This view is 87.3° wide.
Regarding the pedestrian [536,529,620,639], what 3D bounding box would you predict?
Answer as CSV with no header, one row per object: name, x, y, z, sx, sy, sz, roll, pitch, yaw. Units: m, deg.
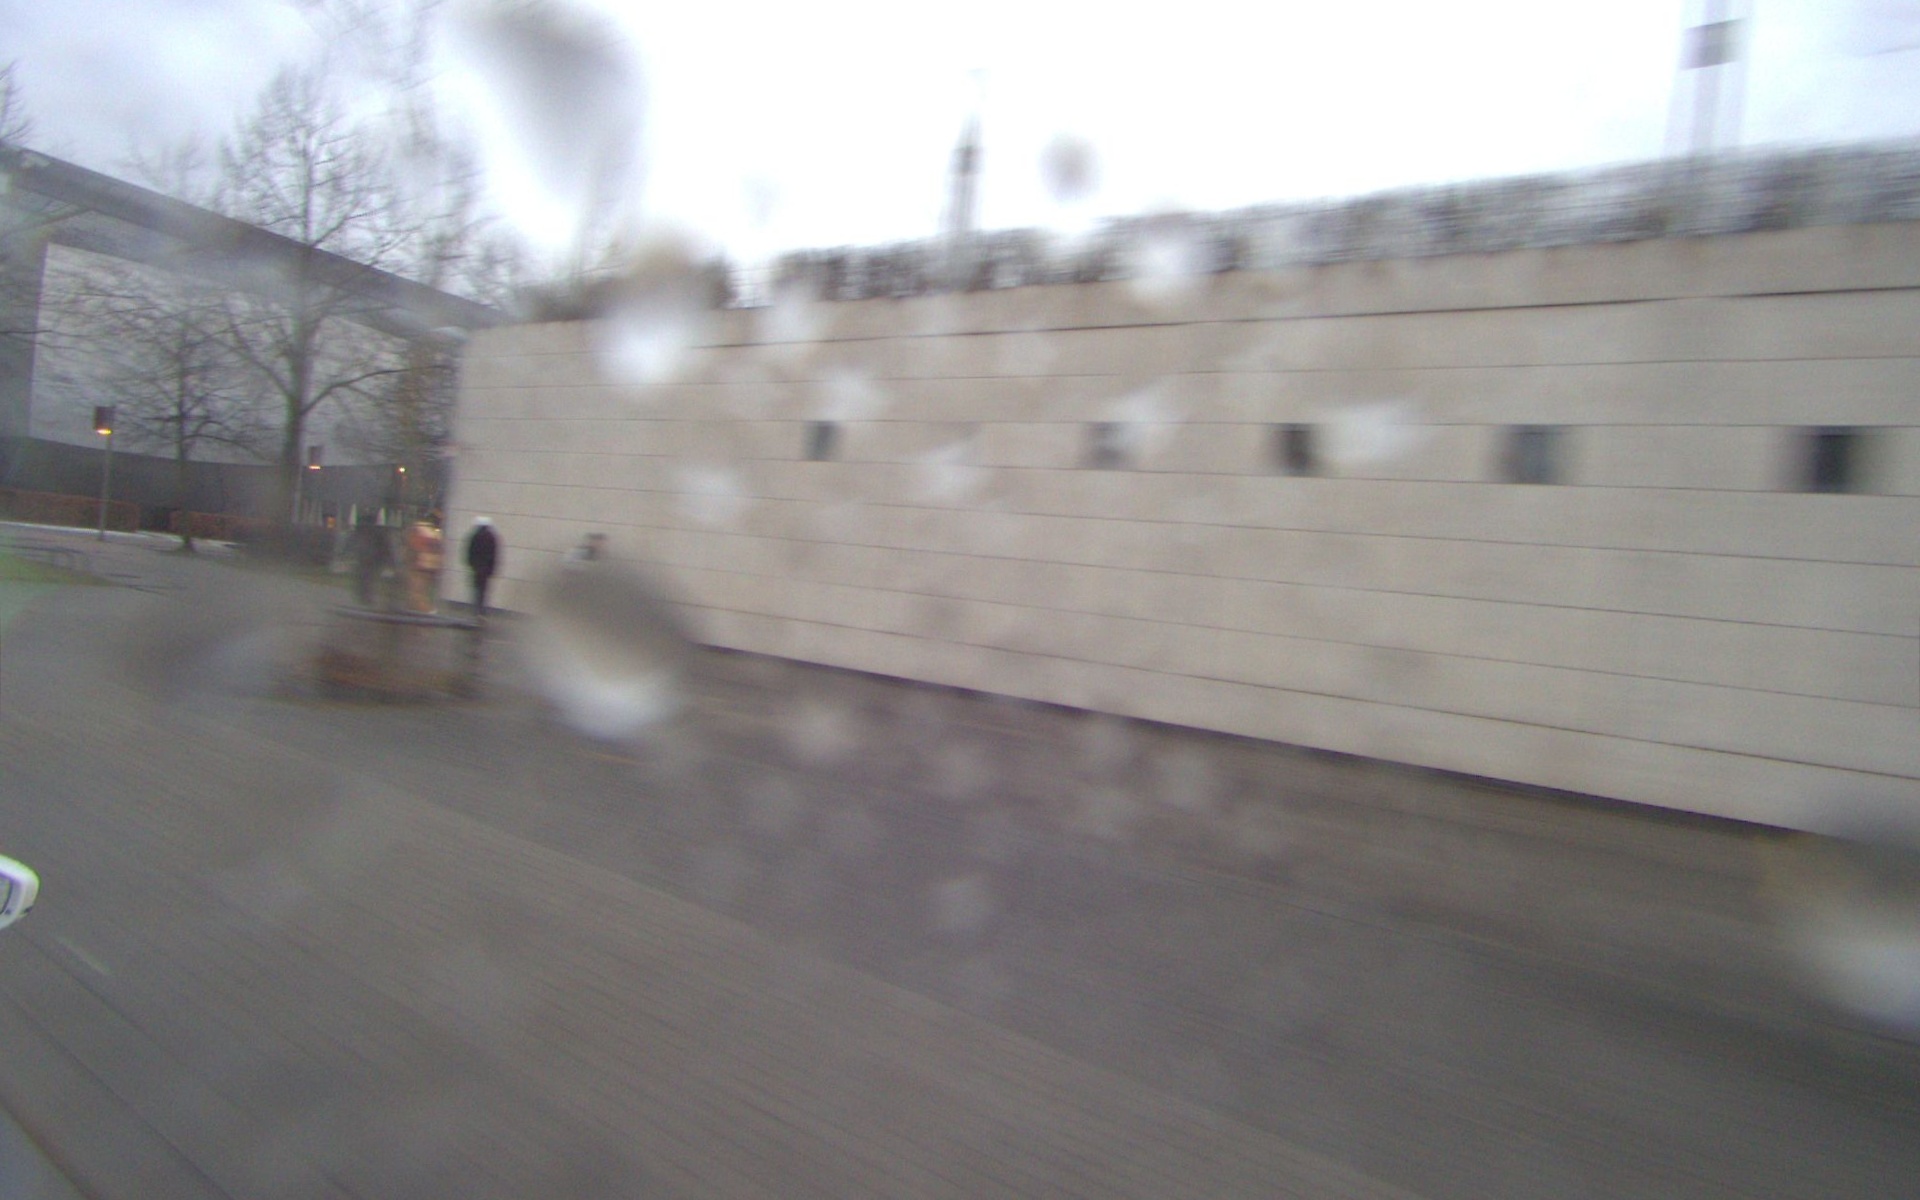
pedestrian,-6.227,-0.258,16.401,0.977,1.676,0.668,6,1,26

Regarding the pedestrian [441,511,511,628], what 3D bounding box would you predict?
pedestrian,-7.873,-0.500,16.368,0.606,1.798,0.671,6,-1,45

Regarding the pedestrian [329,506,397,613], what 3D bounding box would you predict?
pedestrian,-9.759,-0.661,16.448,0.671,1.644,0.607,8,-1,-43

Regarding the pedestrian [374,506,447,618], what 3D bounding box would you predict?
pedestrian,-8.493,-0.583,15.553,0.671,1.631,0.606,8,-1,-45
